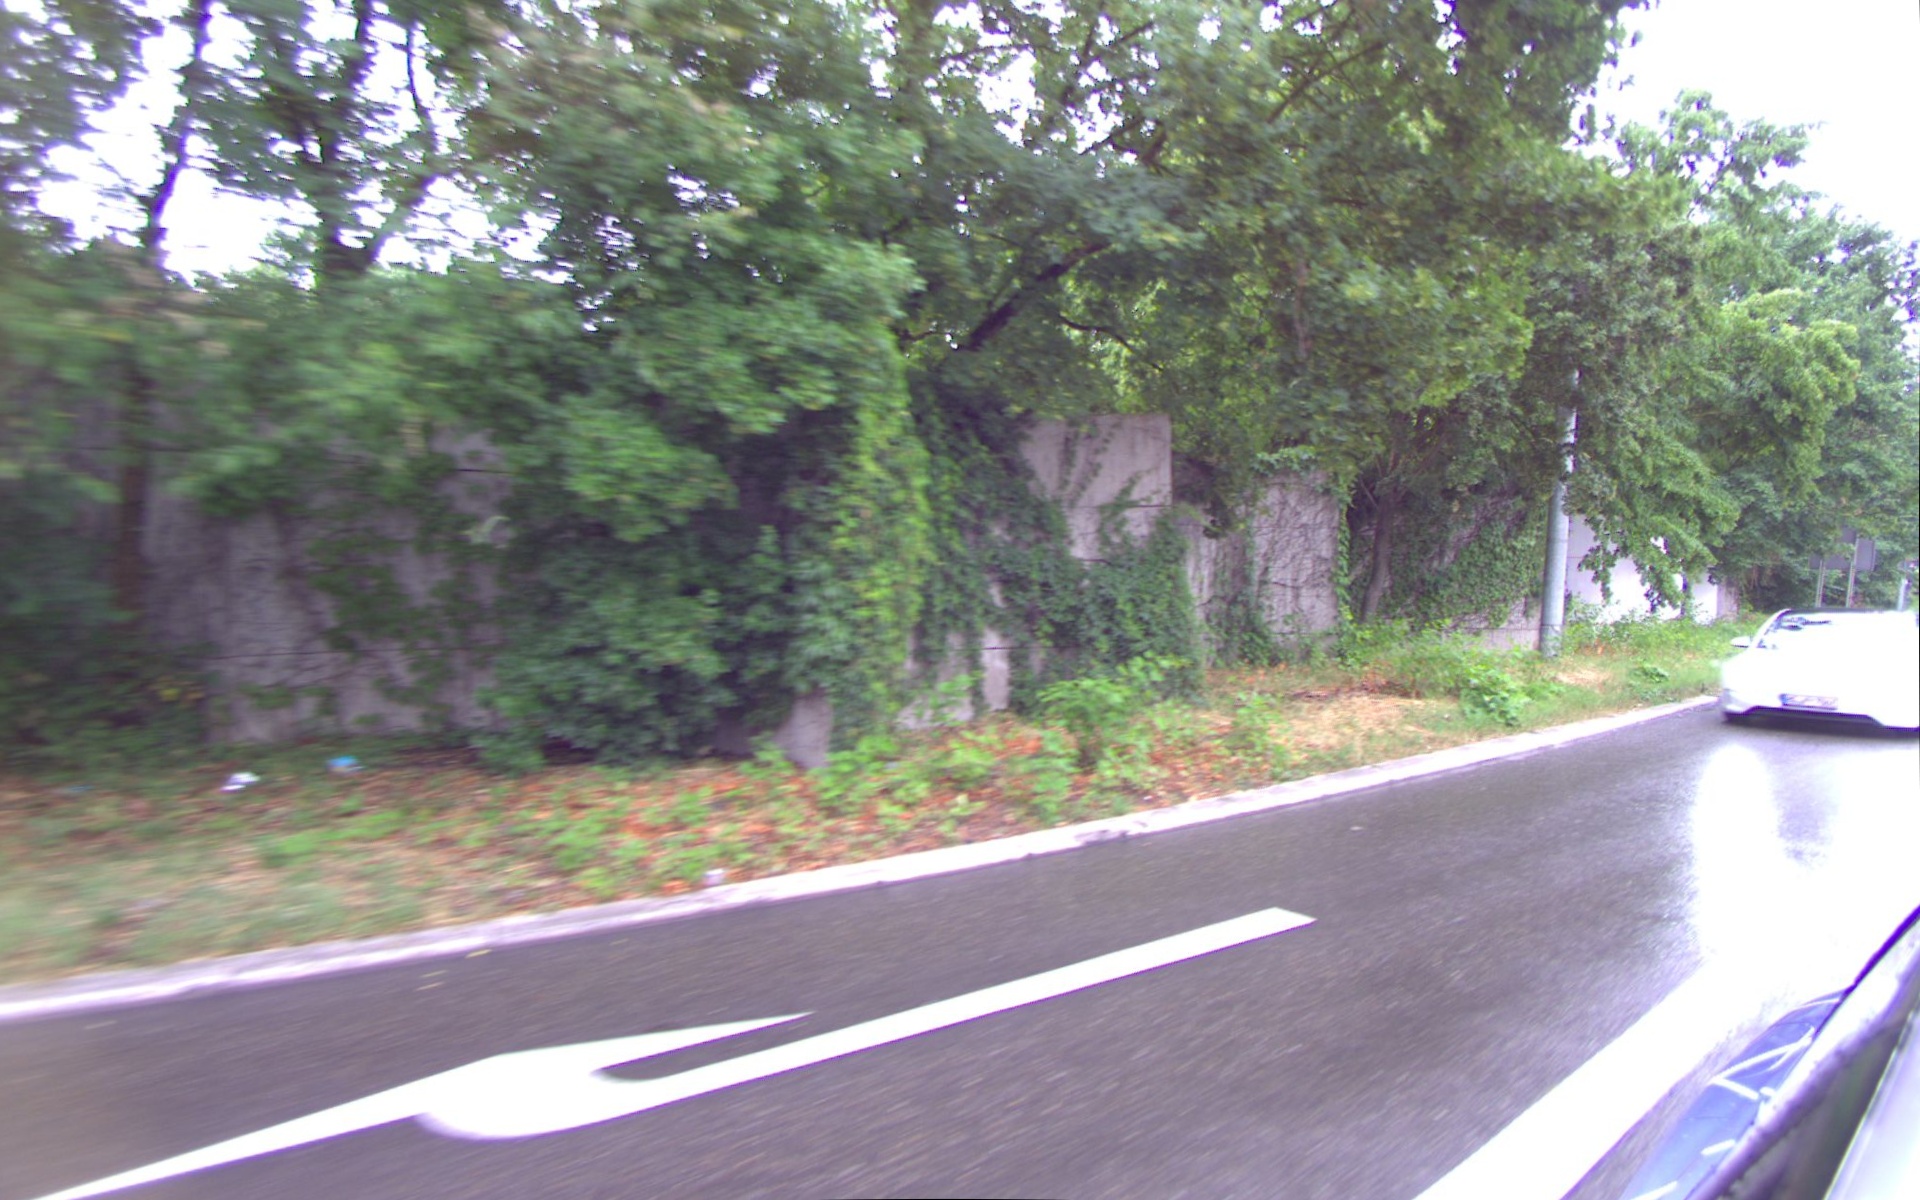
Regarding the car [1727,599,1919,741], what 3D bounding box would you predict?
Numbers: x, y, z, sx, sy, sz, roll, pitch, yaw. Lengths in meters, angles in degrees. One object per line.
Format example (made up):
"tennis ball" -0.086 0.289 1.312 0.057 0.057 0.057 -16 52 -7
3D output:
"car" 11.207 0.741 12.683 4.200 1.450 1.837 0 1 -43
